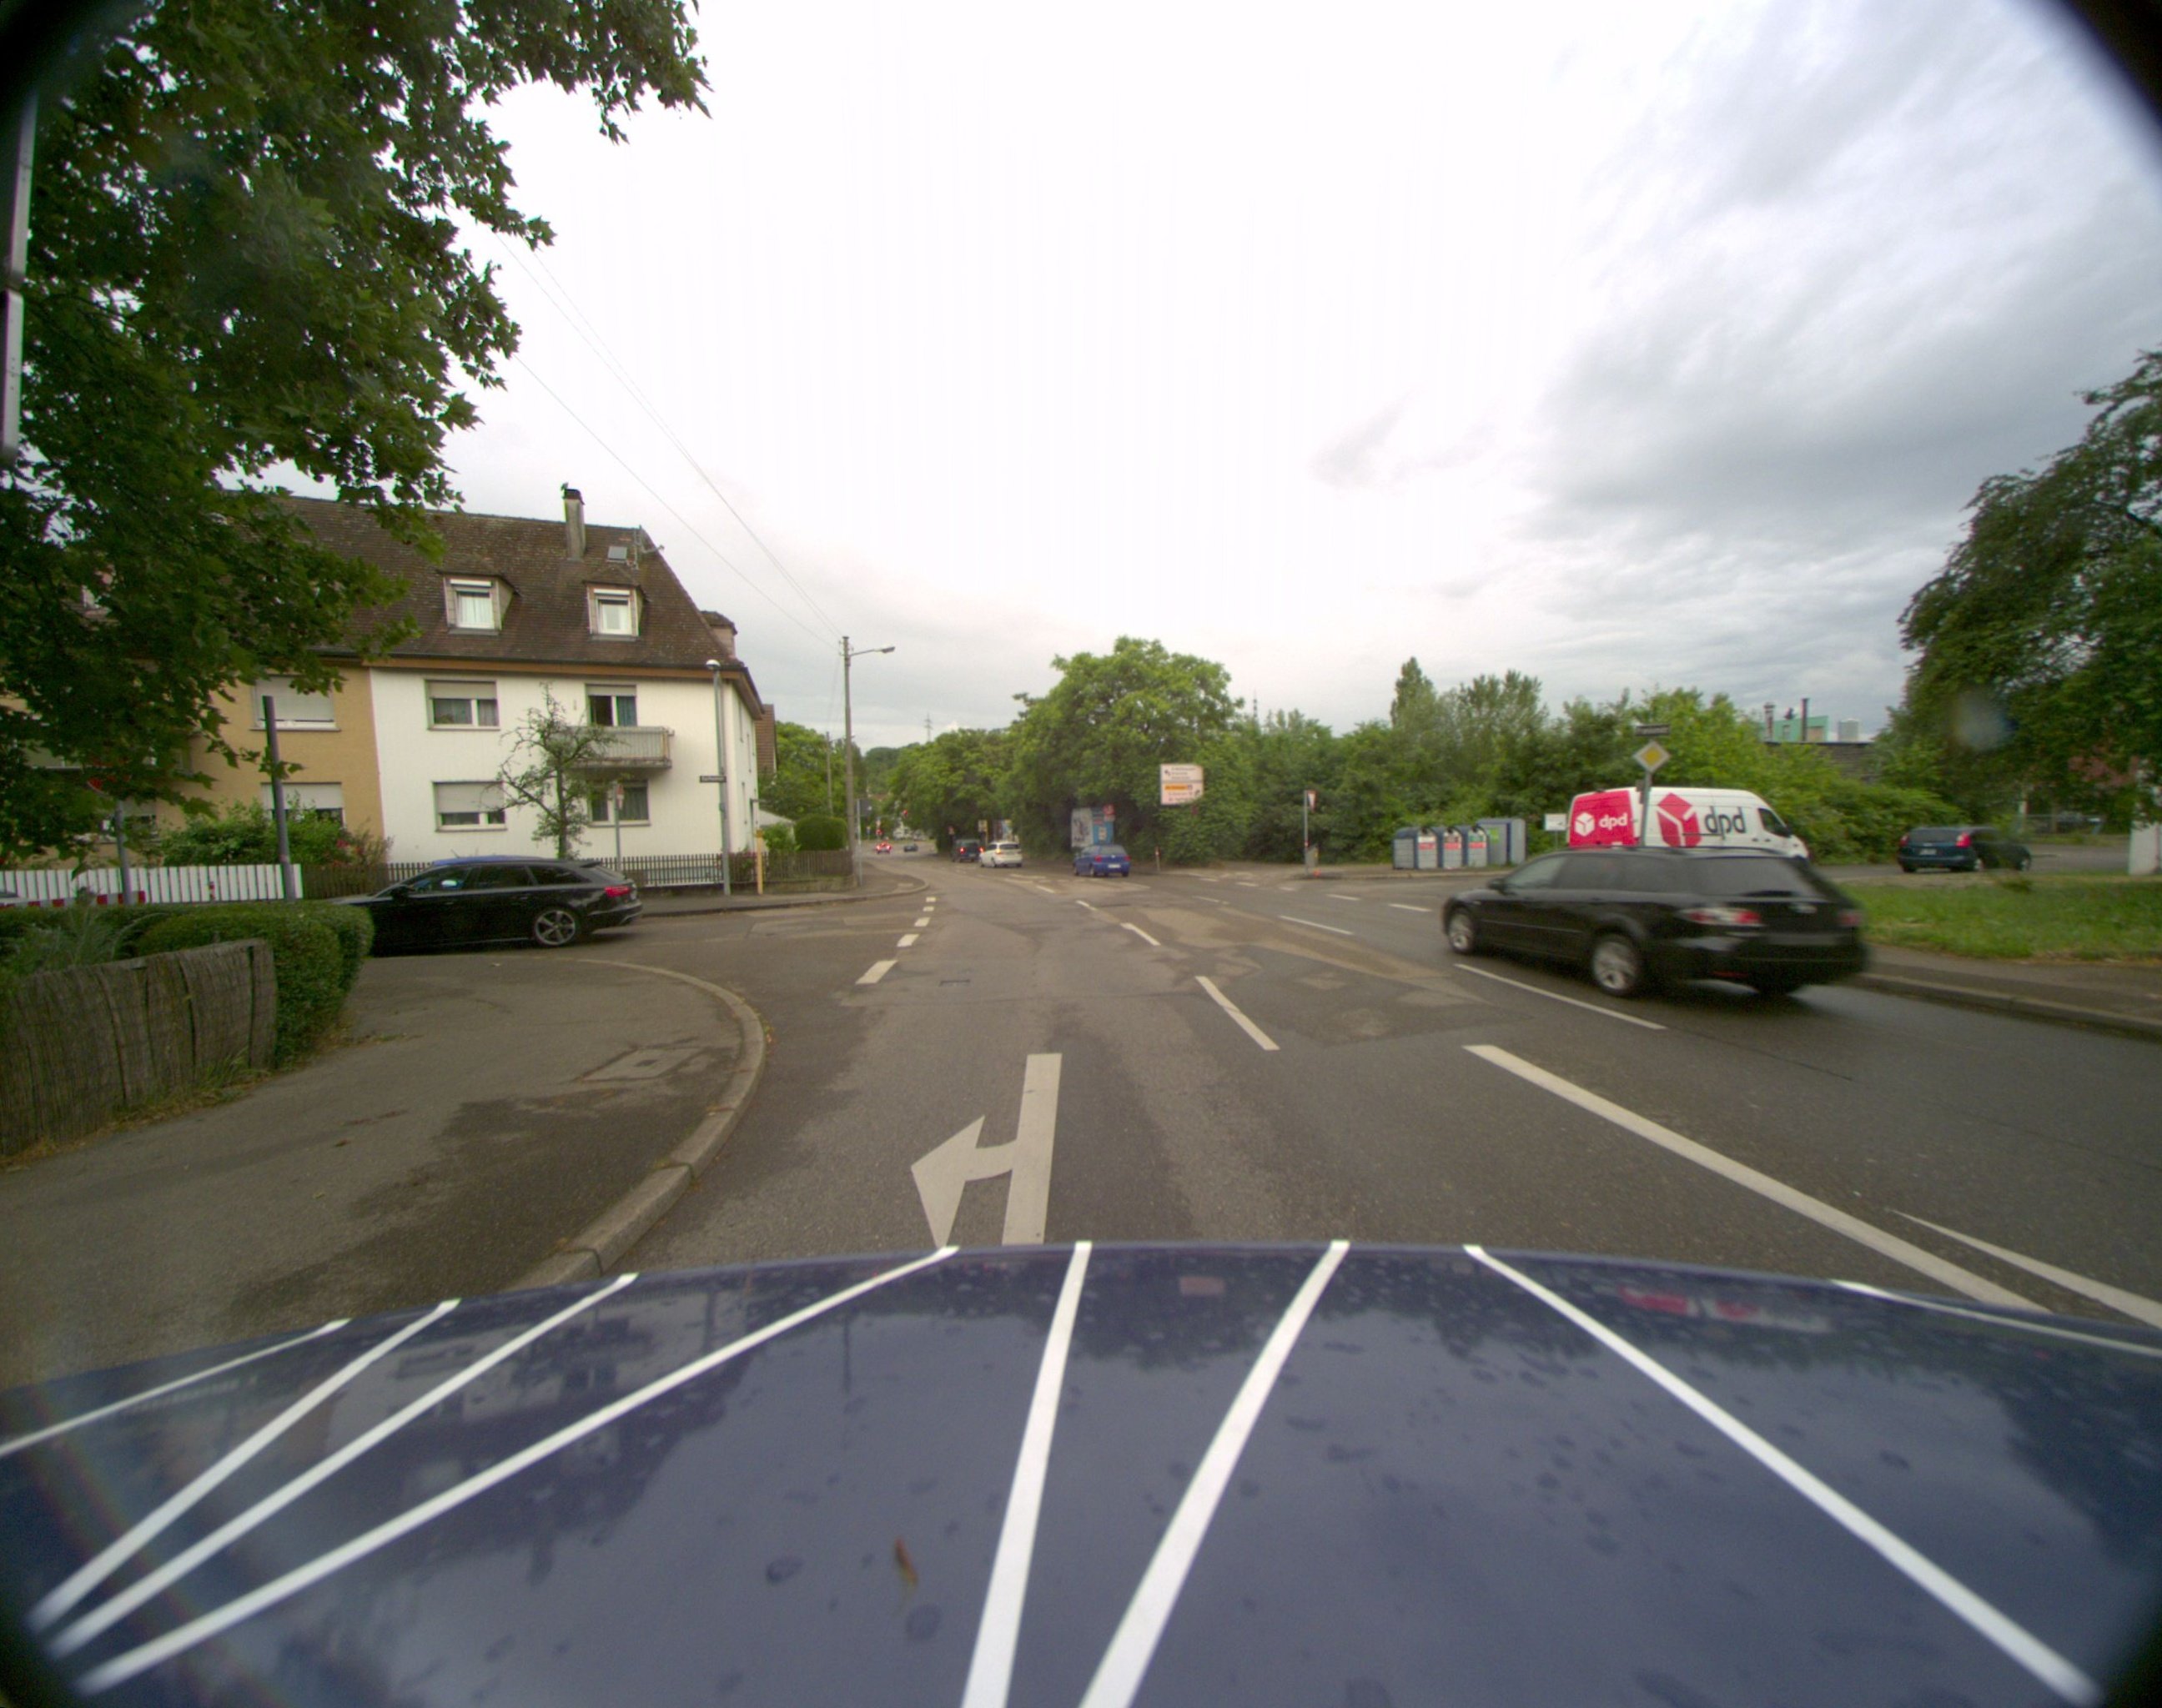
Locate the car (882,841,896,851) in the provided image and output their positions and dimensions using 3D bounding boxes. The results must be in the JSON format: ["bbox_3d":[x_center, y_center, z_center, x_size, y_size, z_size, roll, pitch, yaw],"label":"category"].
[{"bbox_3d":[-28.603,-1.256,113.153,1.902,1.453,3.994,-1,1,-15],"label":"car"}]

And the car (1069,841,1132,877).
[{"bbox_3d":[0.770,0.173,32.877,1.604,1.418,3.691,-3,2,-17],"label":"car"}]

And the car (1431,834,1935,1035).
[{"bbox_3d":[5.876,0.611,8.314,1.847,1.560,4.410,-1,1,-3],"label":"car"}]

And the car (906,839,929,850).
[{"bbox_3d":[-27.239,-1.573,126.683,1.997,1.436,4.774,-3,4,11],"label":"car"}]

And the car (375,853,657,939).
[{"bbox_3d":[-11.128,0.758,15.339,4.130,1.472,1.883,-1,1,-17],"label":"car"}]

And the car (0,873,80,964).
[{"bbox_3d":[-19.477,1.119,12.145,3.788,1.445,1.769,-2,1,-20],"label":"car"}]

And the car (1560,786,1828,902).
[{"bbox_3d":[16.159,-0.357,20.017,6.829,2.641,2.258,-2,2,-20],"label":"car"}]

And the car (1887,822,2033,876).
[{"bbox_3d":[30.137,-0.217,26.061,4.257,1.620,1.996,-3,2,-22],"label":"car"}]

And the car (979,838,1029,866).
[{"bbox_3d":[-4.938,-0.161,48.162,1.839,1.570,4.323,-3,3,-24],"label":"car"}]

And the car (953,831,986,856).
[{"bbox_3d":[-9.215,-0.897,62.498,1.965,1.920,4.676,-2,1,-16],"label":"car"}]

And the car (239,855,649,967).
[{"bbox_3d":[-10.061,0.810,12.600,4.823,1.472,1.882,-1,1,-24],"label":"car"}]
